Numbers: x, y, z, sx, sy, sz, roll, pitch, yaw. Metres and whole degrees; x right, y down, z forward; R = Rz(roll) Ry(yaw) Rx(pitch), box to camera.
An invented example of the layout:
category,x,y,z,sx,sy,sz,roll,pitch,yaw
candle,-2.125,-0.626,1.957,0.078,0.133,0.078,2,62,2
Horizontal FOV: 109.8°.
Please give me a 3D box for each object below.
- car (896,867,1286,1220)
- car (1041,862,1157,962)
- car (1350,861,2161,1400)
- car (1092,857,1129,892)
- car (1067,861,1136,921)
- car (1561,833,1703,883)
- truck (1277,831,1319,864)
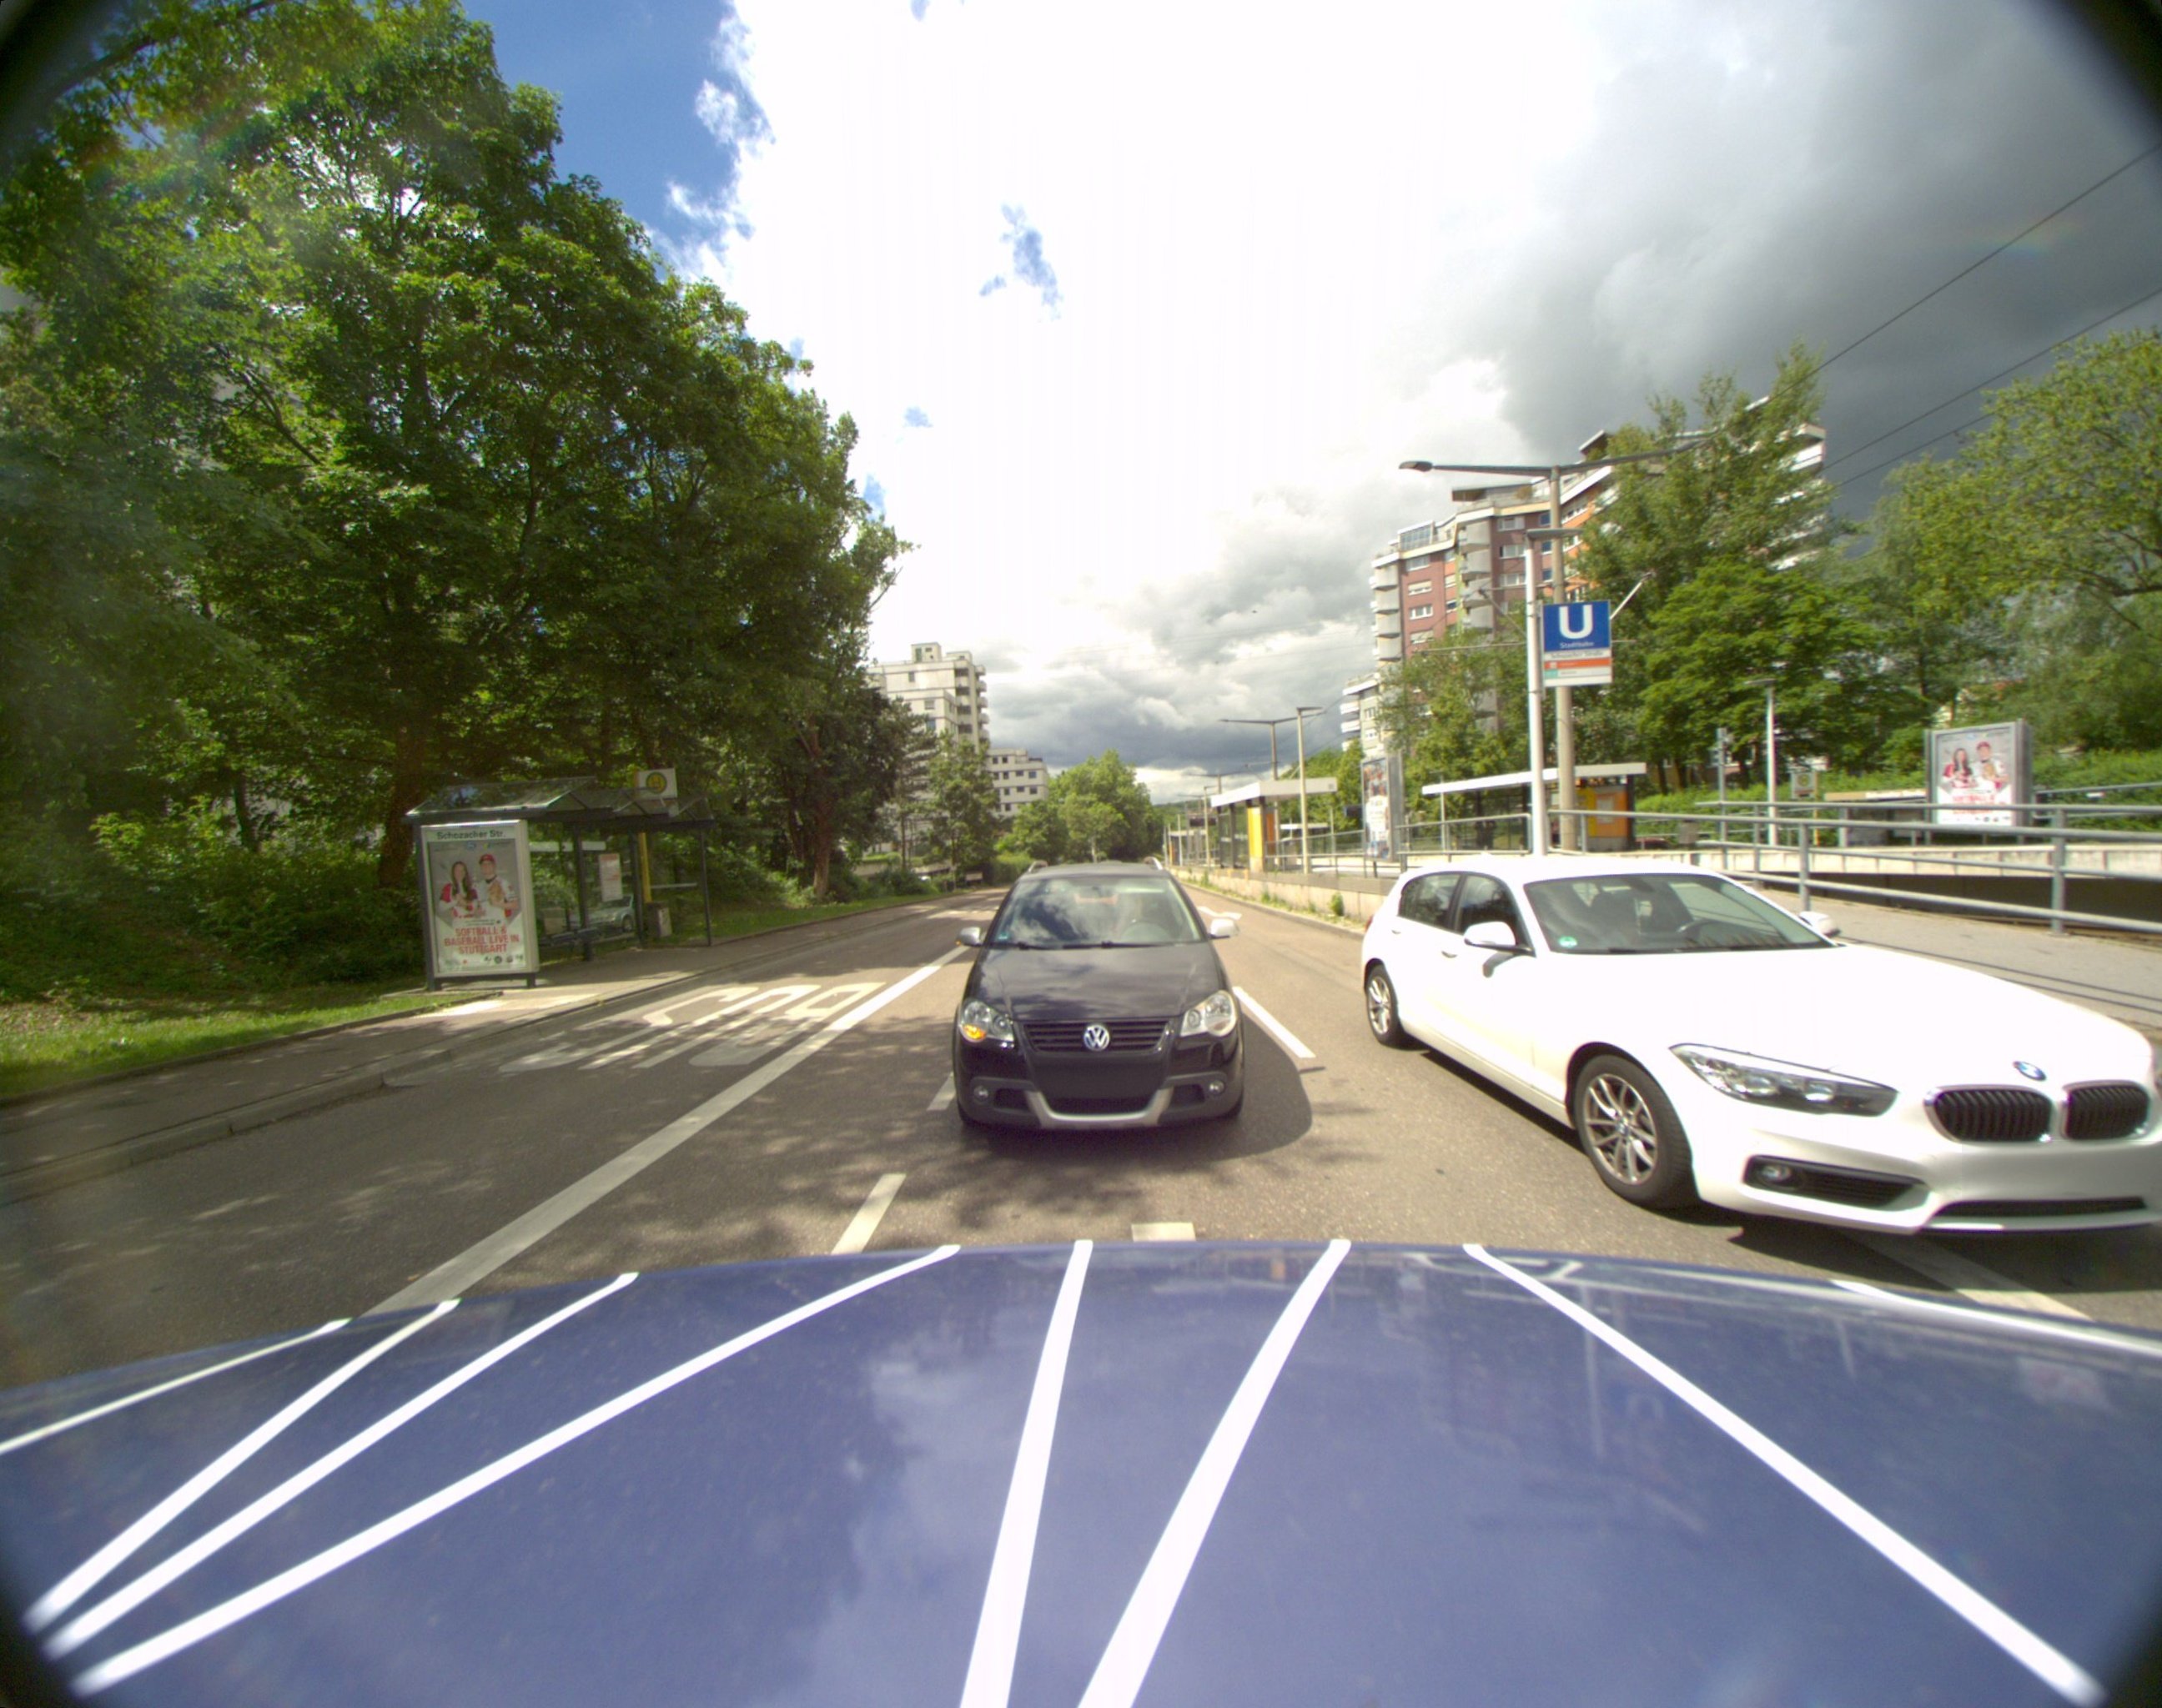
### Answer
category,x,y,z,sx,sy,sz,roll,pitch,yaw
car,0.081,0.913,5.495,1.732,1.501,4.000,-2,0,1
car,0.313,0.918,13.713,1.732,1.453,4.000,-2,0,1
car,3.063,0.839,4.227,1.732,1.453,4.000,-2,1,1
car,1.441,0.989,38.171,1.732,1.505,4.000,-2,1,1
car,0.639,0.967,21.555,1.732,1.452,4.001,-2,0,3
car,19.669,0.111,27.424,1.998,1.625,4.460,-1,0,2
truck,22.891,-0.633,80.535,2.420,3.203,7.263,-2,0,1
